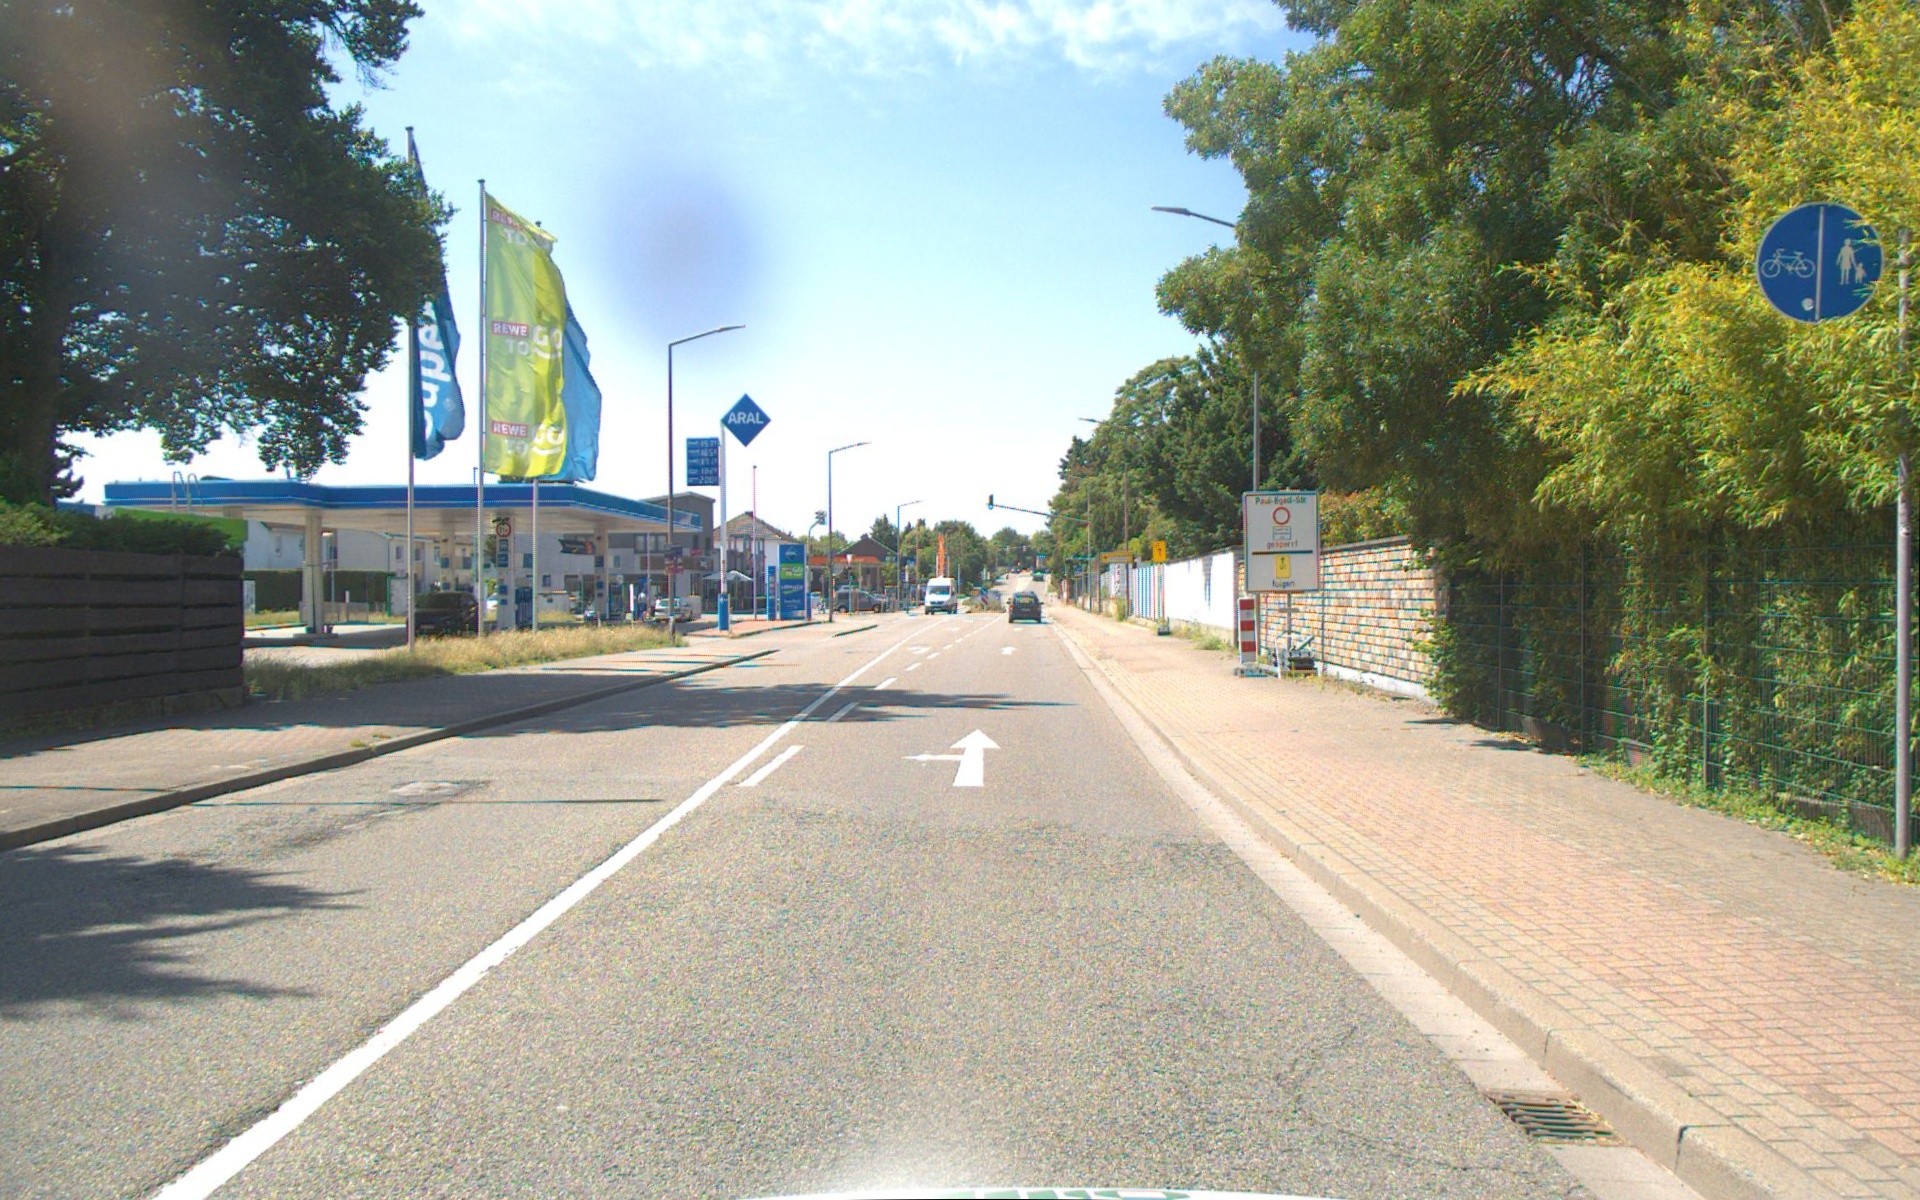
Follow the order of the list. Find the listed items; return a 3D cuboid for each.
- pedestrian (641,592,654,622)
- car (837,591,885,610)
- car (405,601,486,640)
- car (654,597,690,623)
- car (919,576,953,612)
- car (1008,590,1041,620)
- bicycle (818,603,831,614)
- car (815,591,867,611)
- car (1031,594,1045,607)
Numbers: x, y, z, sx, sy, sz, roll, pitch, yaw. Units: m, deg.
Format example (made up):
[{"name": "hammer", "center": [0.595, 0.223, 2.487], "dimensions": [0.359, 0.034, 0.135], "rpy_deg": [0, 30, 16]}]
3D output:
[{"name": "pedestrian", "center": [-18.585, 0.417, 98.242], "dimensions": [0.602, 1.721, 0.704], "rpy_deg": [0, 0, -24]}, {"name": "car", "center": [-8.083, 0.029, 135.329], "dimensions": [3.906, 1.534, 1.554], "rpy_deg": [0, 0, -1]}, {"name": "car", "center": [-19.071, 0.735, 61.473], "dimensions": [1.635, 1.406, 4.001], "rpy_deg": [0, 0, 2]}, {"name": "car", "center": [-16.960, 0.566, 97.596], "dimensions": [1.584, 1.445, 3.710], "rpy_deg": [-1, 0, -2]}, {"name": "car", "center": [-1.740, -0.389, 122.375], "dimensions": [1.952, 2.465, 5.949], "rpy_deg": [2, -1, 4]}, {"name": "car", "center": [3.269, 0.241, 83.509], "dimensions": [1.631, 1.481, 3.473], "rpy_deg": [0, 0, 2]}, {"name": "bicycle", "center": [-9.792, 0.616, 119.385], "dimensions": [0.600, 0.807, 2.575], "rpy_deg": [0, 0, 2]}, {"name": "car", "center": [-9.213, 0.072, 127.926], "dimensions": [3.906, 1.534, 1.554], "rpy_deg": [0, 0, -1]}, {"name": "car", "center": [9.374, 0.034, 198.501], "dimensions": [1.631, 1.481, 3.473], "rpy_deg": [0, 0, 2]}]
